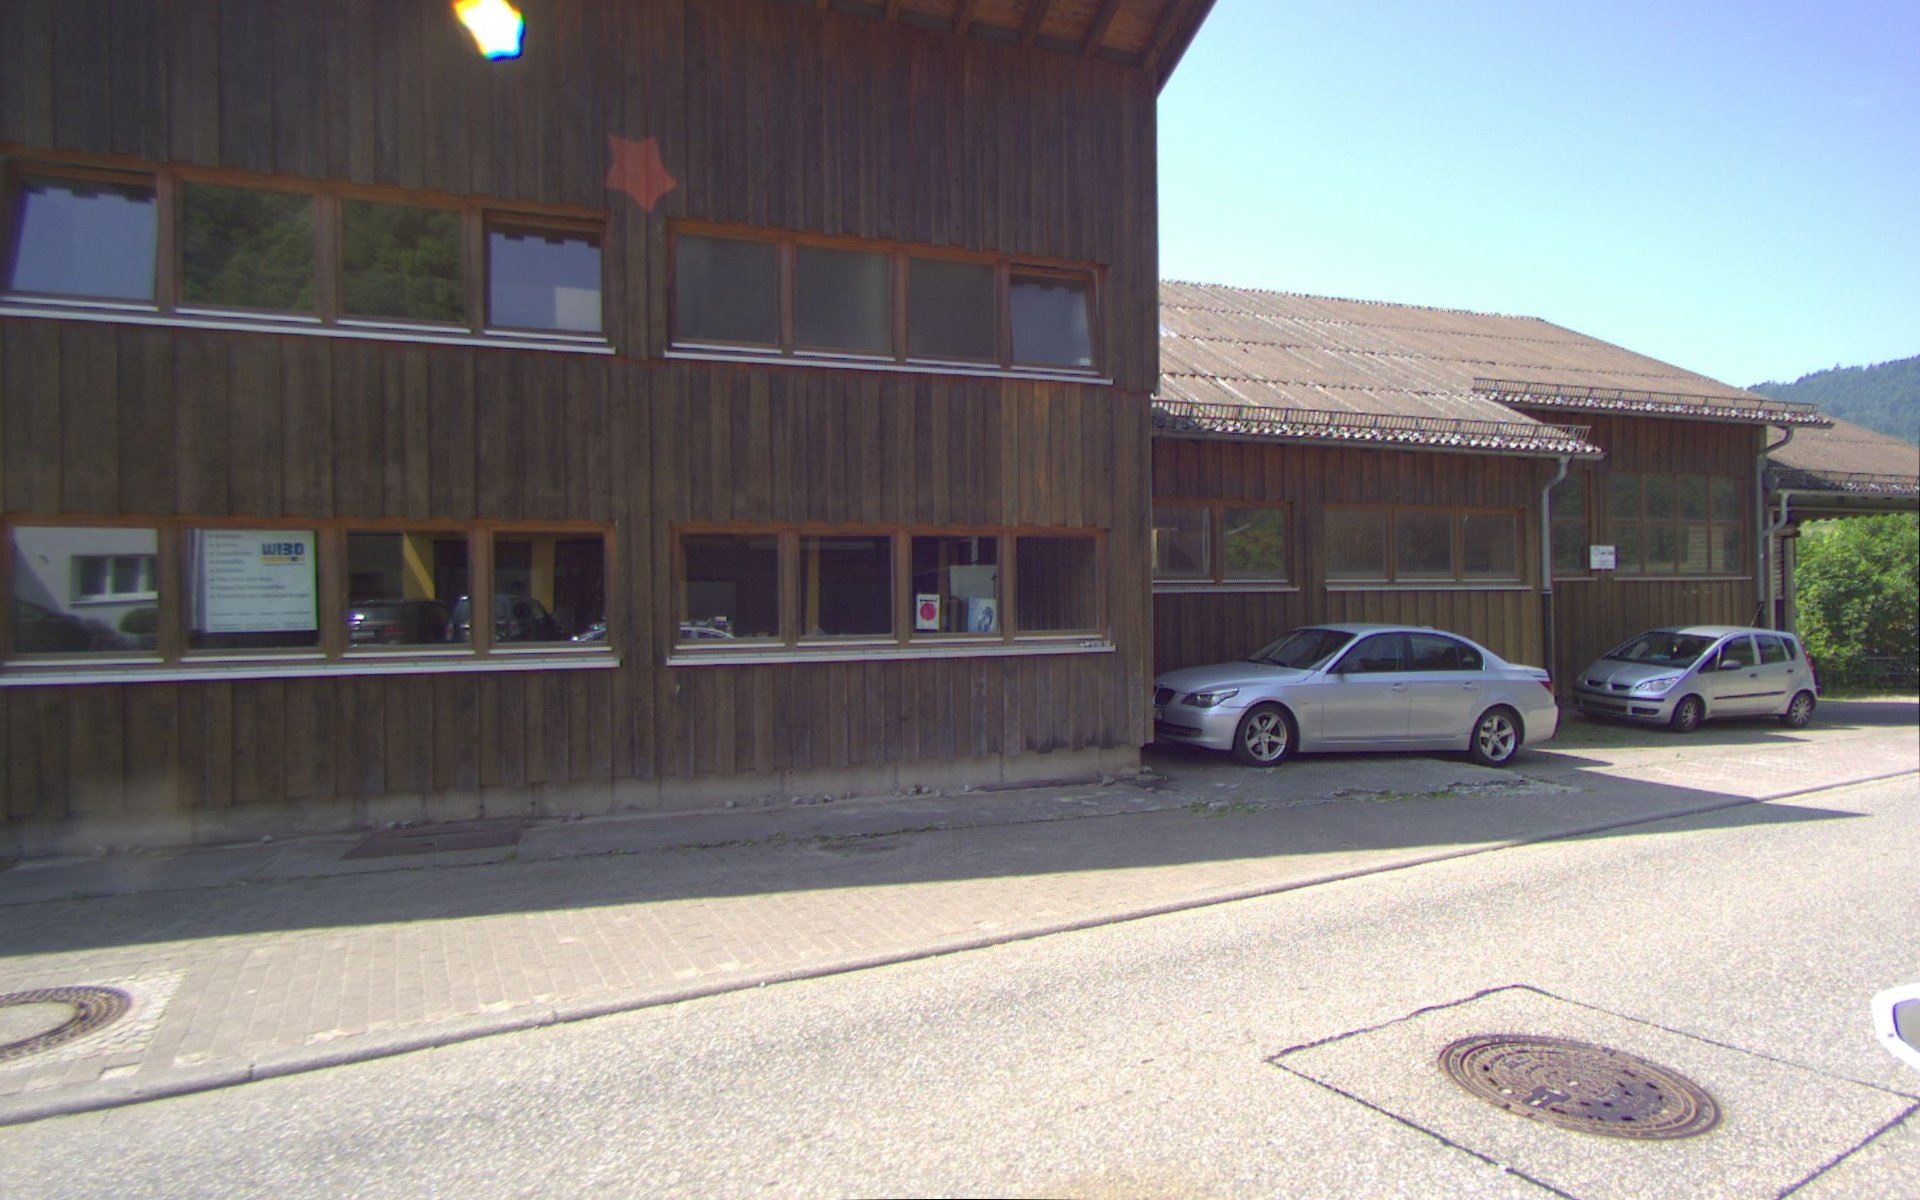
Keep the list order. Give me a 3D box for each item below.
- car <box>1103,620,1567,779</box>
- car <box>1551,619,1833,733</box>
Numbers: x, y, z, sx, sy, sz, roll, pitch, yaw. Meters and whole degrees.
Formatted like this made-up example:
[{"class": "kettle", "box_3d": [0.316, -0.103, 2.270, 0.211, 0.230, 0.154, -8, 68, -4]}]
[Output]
[{"class": "car", "box_3d": [4.104, 0.985, 11.111, 4.725, 1.473, 1.729, 0, -1, -16]}, {"class": "car", "box_3d": [11.677, 1.152, 16.049, 3.959, 1.591, 1.579, 1, 2, -18]}]
